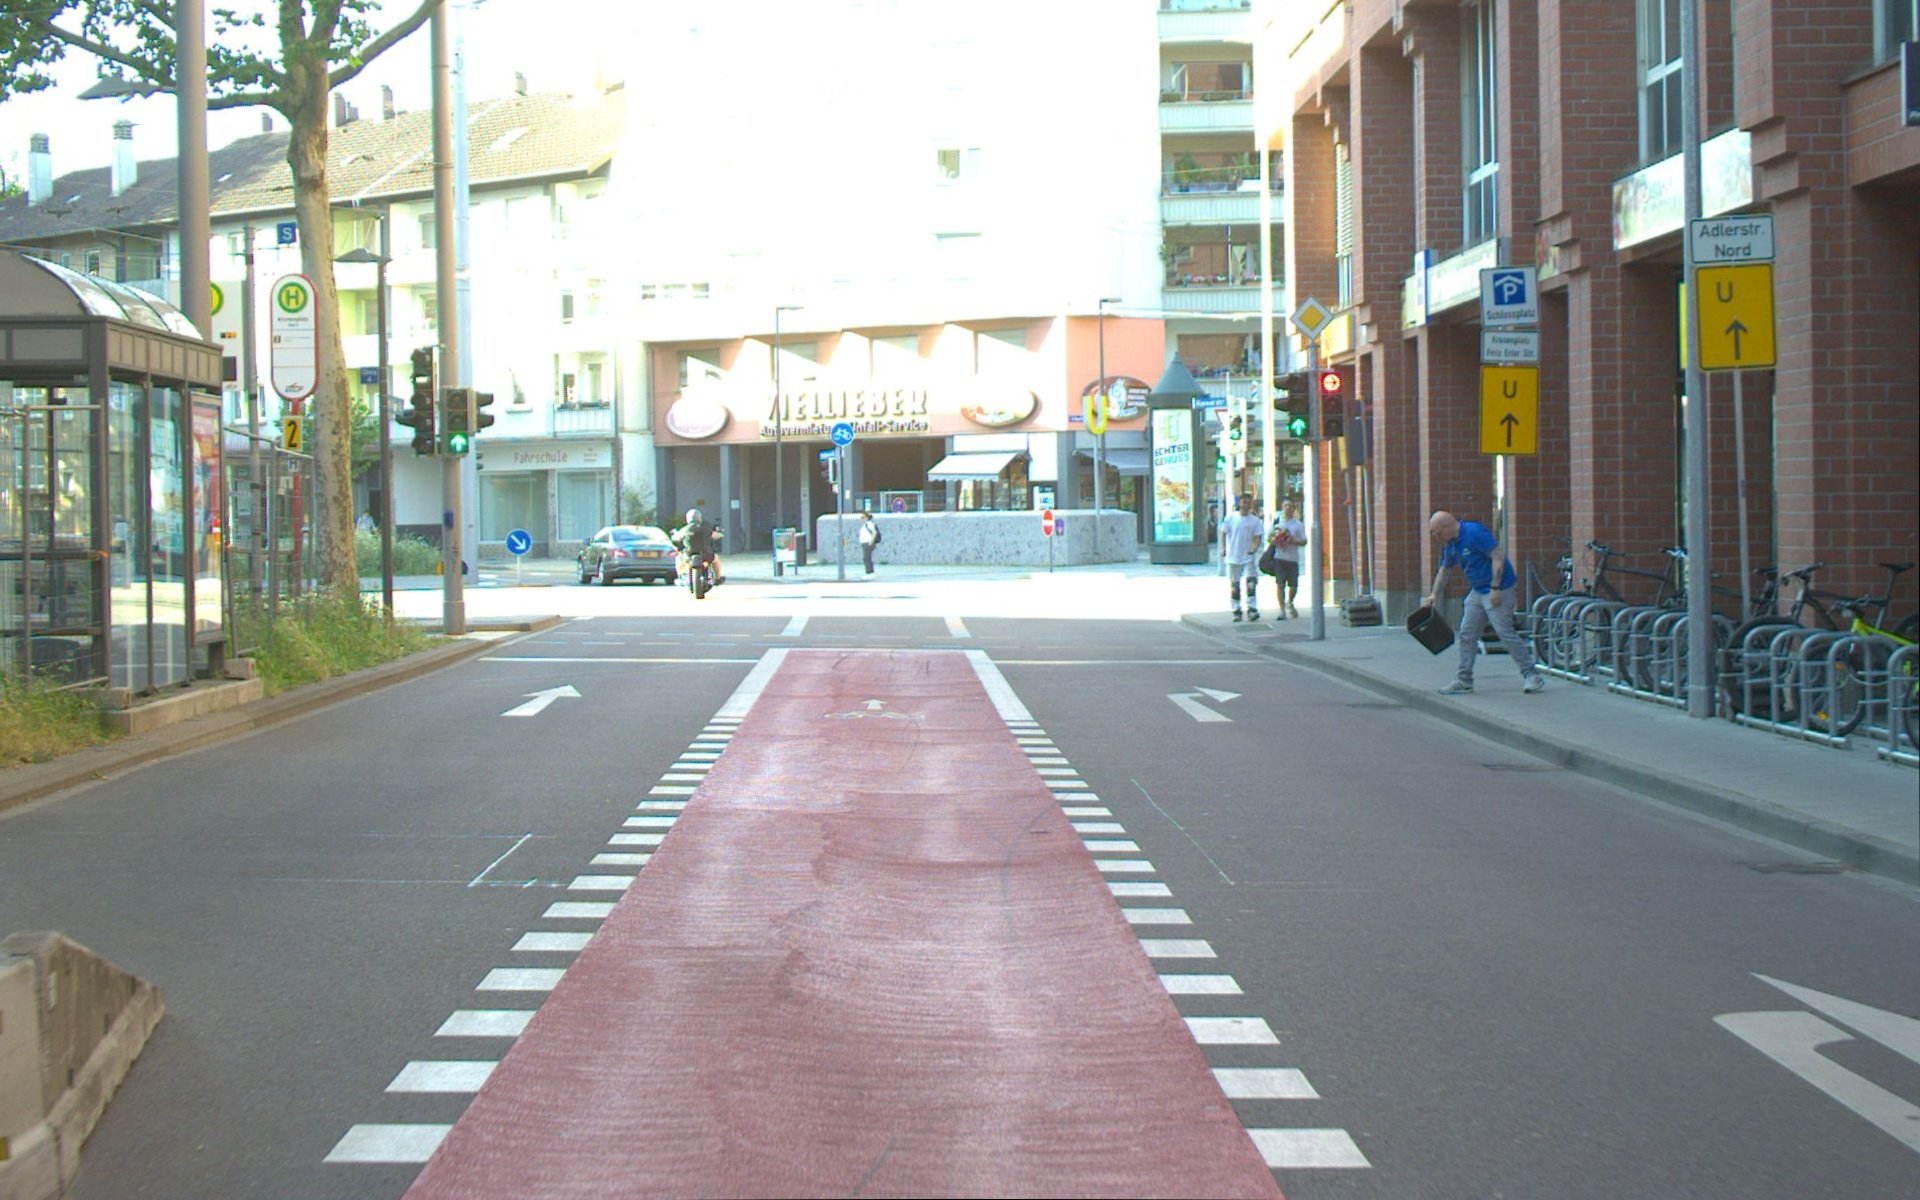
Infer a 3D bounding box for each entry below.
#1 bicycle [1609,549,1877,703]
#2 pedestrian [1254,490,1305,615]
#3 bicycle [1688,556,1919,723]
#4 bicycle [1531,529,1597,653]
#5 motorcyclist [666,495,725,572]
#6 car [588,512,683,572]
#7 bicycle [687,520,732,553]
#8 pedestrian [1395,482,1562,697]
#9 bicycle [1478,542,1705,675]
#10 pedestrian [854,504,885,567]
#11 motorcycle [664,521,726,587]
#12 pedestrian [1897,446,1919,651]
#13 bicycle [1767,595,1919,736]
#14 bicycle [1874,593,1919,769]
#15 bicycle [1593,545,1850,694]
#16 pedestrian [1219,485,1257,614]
[{"bbox_3d":[5.926,0.189,26.073,1.891,1.115,0.550,-1,1,-1],"label":"bicycle"},{"bbox_3d":[4.450,-0.665,47.905,0.633,1.719,0.630,0,1,-1],"label":"pedestrian"},{"bbox_3d":[5.996,0.257,23.379,1.933,1.053,0.572,-2,1,2],"label":"bicycle"},{"bbox_3d":[5.920,-0.103,33.750,0.339,1.179,1.678,-1,2,0],"label":"bicycle"},{"bbox_3d":[-4.701,-1.186,61.136,0.970,1.342,1.138,1,1,-2],"label":"motorcyclist"},{"bbox_3d":[-7.821,-1.416,82.616,1.923,1.384,4.001,-1,2,-10],"label":"car"},{"bbox_3d":[-8.216,-2.095,112.682,1.637,1.035,0.495,3,2,44],"label":"bicycle"},{"bbox_3d":[4.260,-0.095,28.335,1.194,1.690,0.885,-3,1,2],"label":"pedestrian"},{"bbox_3d":[5.542,0.071,30.221,1.891,1.115,0.475,-1,1,-1],"label":"bicycle"},{"bbox_3d":[-2.282,-1.625,86.924,0.539,1.578,0.557,-2,2,-44],"label":"pedestrian"},{"bbox_3d":[-4.697,-0.837,61.097,0.973,1.128,2.805,1,1,-2],"label":"motorcycle"},{"bbox_3d":[8.670,-0.459,30.221,0.658,1.789,0.609,-1,1,-5],"label":"pedestrian"},{"bbox_3d":[5.916,0.408,22.063,1.334,0.838,0.425,-3,1,1],"label":"bicycle"},{"bbox_3d":[6.034,0.416,19.312,1.611,0.951,0.555,-3,1,1],"label":"bicycle"},{"bbox_3d":[5.943,0.149,26.870,1.891,1.115,0.475,-1,1,-1],"label":"bicycle"},{"bbox_3d":[3.891,-0.707,48.098,0.476,1.786,0.541,0,1,-1],"label":"pedestrian"}]
